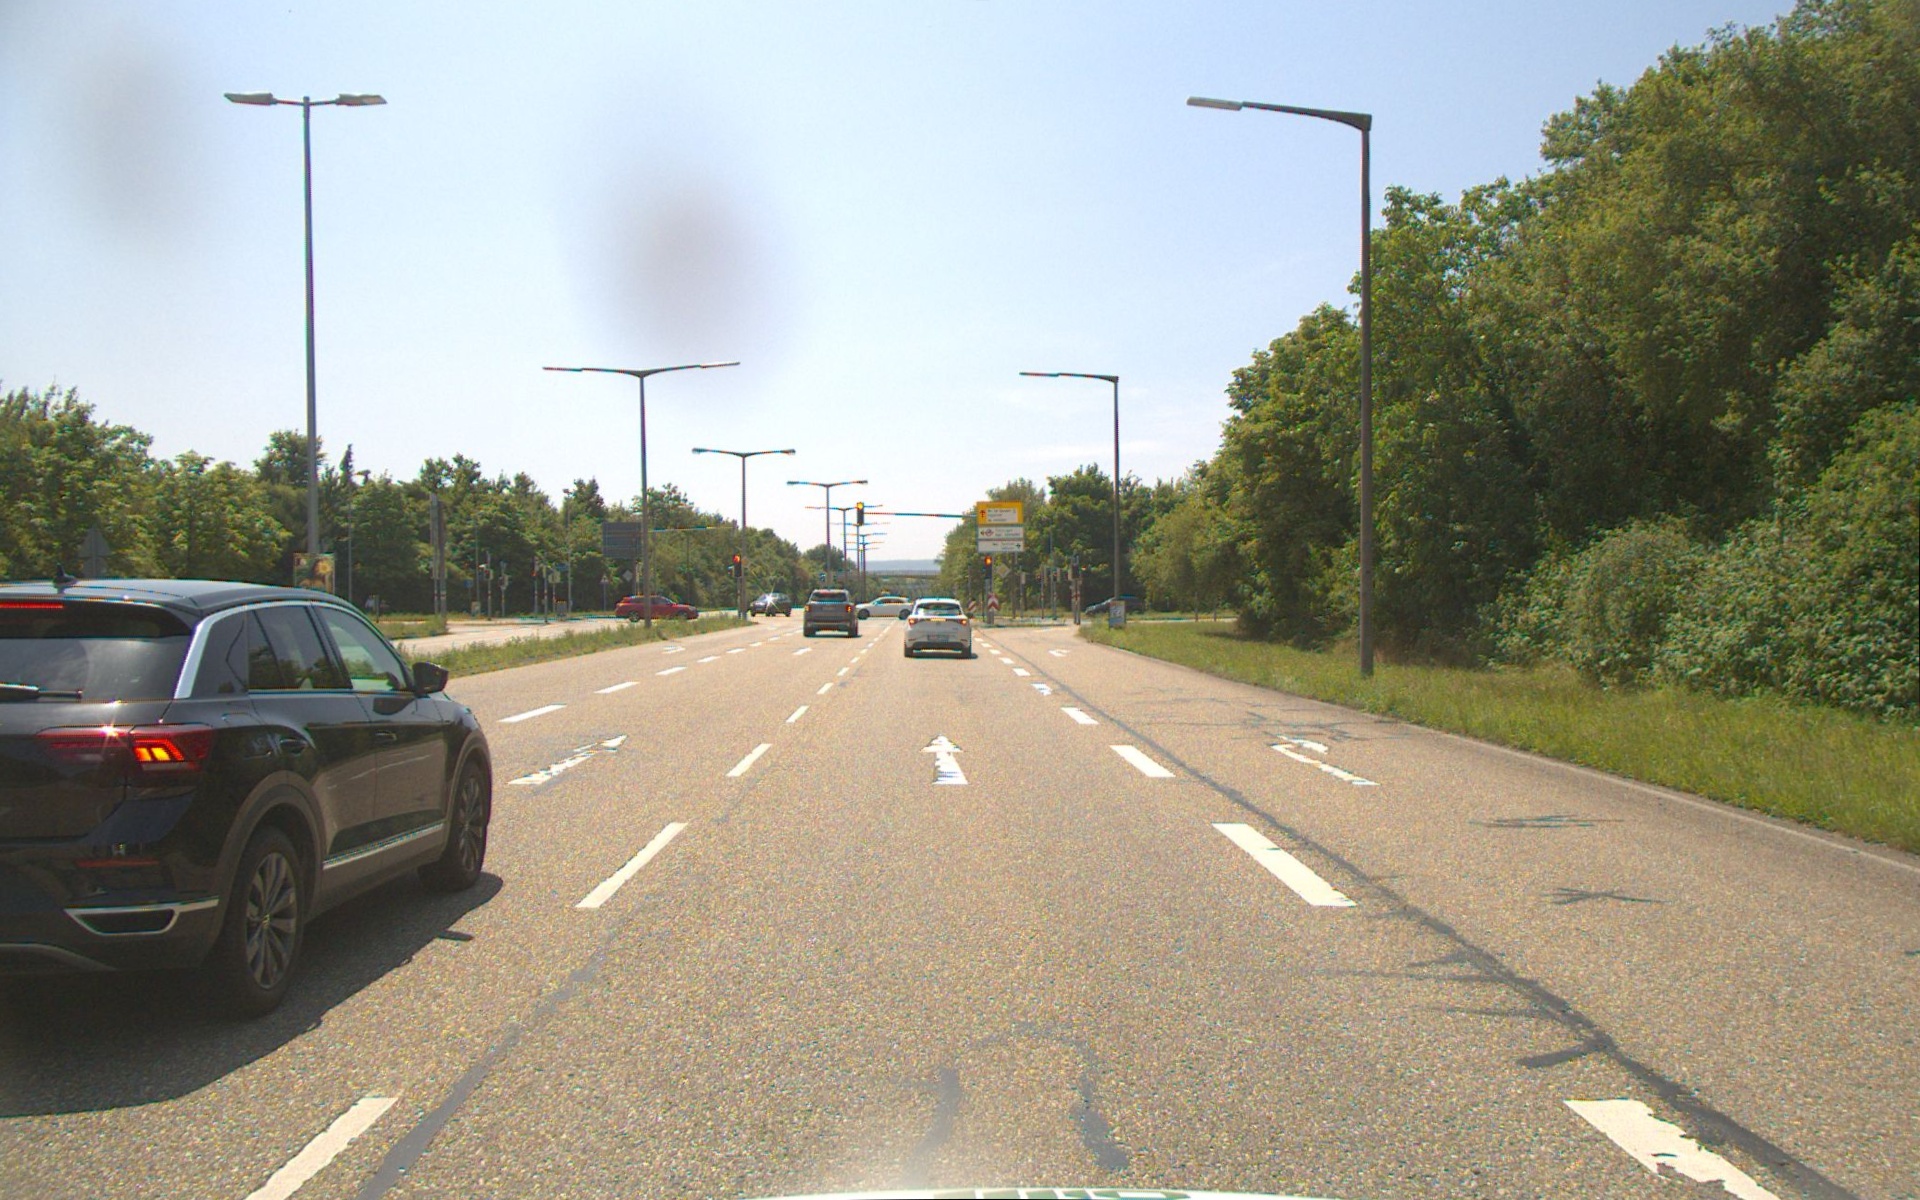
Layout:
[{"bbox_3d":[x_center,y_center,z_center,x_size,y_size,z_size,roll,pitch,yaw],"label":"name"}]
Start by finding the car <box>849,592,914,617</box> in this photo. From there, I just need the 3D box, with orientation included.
[{"bbox_3d":[-5.126,0.287,107.335,4.026,1.552,1.934,0,0,-10],"label":"car"}]

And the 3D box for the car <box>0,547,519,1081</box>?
[{"bbox_3d":[-3.215,0.638,6.898,1.719,1.583,3.999,0,0,-1],"label":"car"}]

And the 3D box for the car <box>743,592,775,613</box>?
[{"bbox_3d":[-14.809,0.172,122.227,1.790,1.545,4.001,1,0,1],"label":"car"}]

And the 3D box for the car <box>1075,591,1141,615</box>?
[{"bbox_3d":[9.791,0.183,109.518,4.026,1.552,1.934,0,0,-10],"label":"car"}]

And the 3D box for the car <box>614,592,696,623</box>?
[{"bbox_3d":[-16.926,0.400,91.900,4.441,1.670,1.973,1,0,-11],"label":"car"}]

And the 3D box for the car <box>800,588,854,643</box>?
[{"bbox_3d":[-4.870,0.568,61.136,1.719,1.962,3.999,0,0,-1],"label":"car"}]

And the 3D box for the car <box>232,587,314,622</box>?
[{"bbox_3d":[-38.249,0.246,92.139,3.919,1.862,1.993,1,0,-14],"label":"car"}]

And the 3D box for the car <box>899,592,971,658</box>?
[{"bbox_3d":[-0.625,0.622,42.704,1.760,1.611,3.999,0,0,-1],"label":"car"}]

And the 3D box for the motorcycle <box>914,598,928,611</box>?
[{"bbox_3d":[-4.012,0.423,170.054,1.395,1.303,2.568,-2,0,-1],"label":"motorcycle"}]
